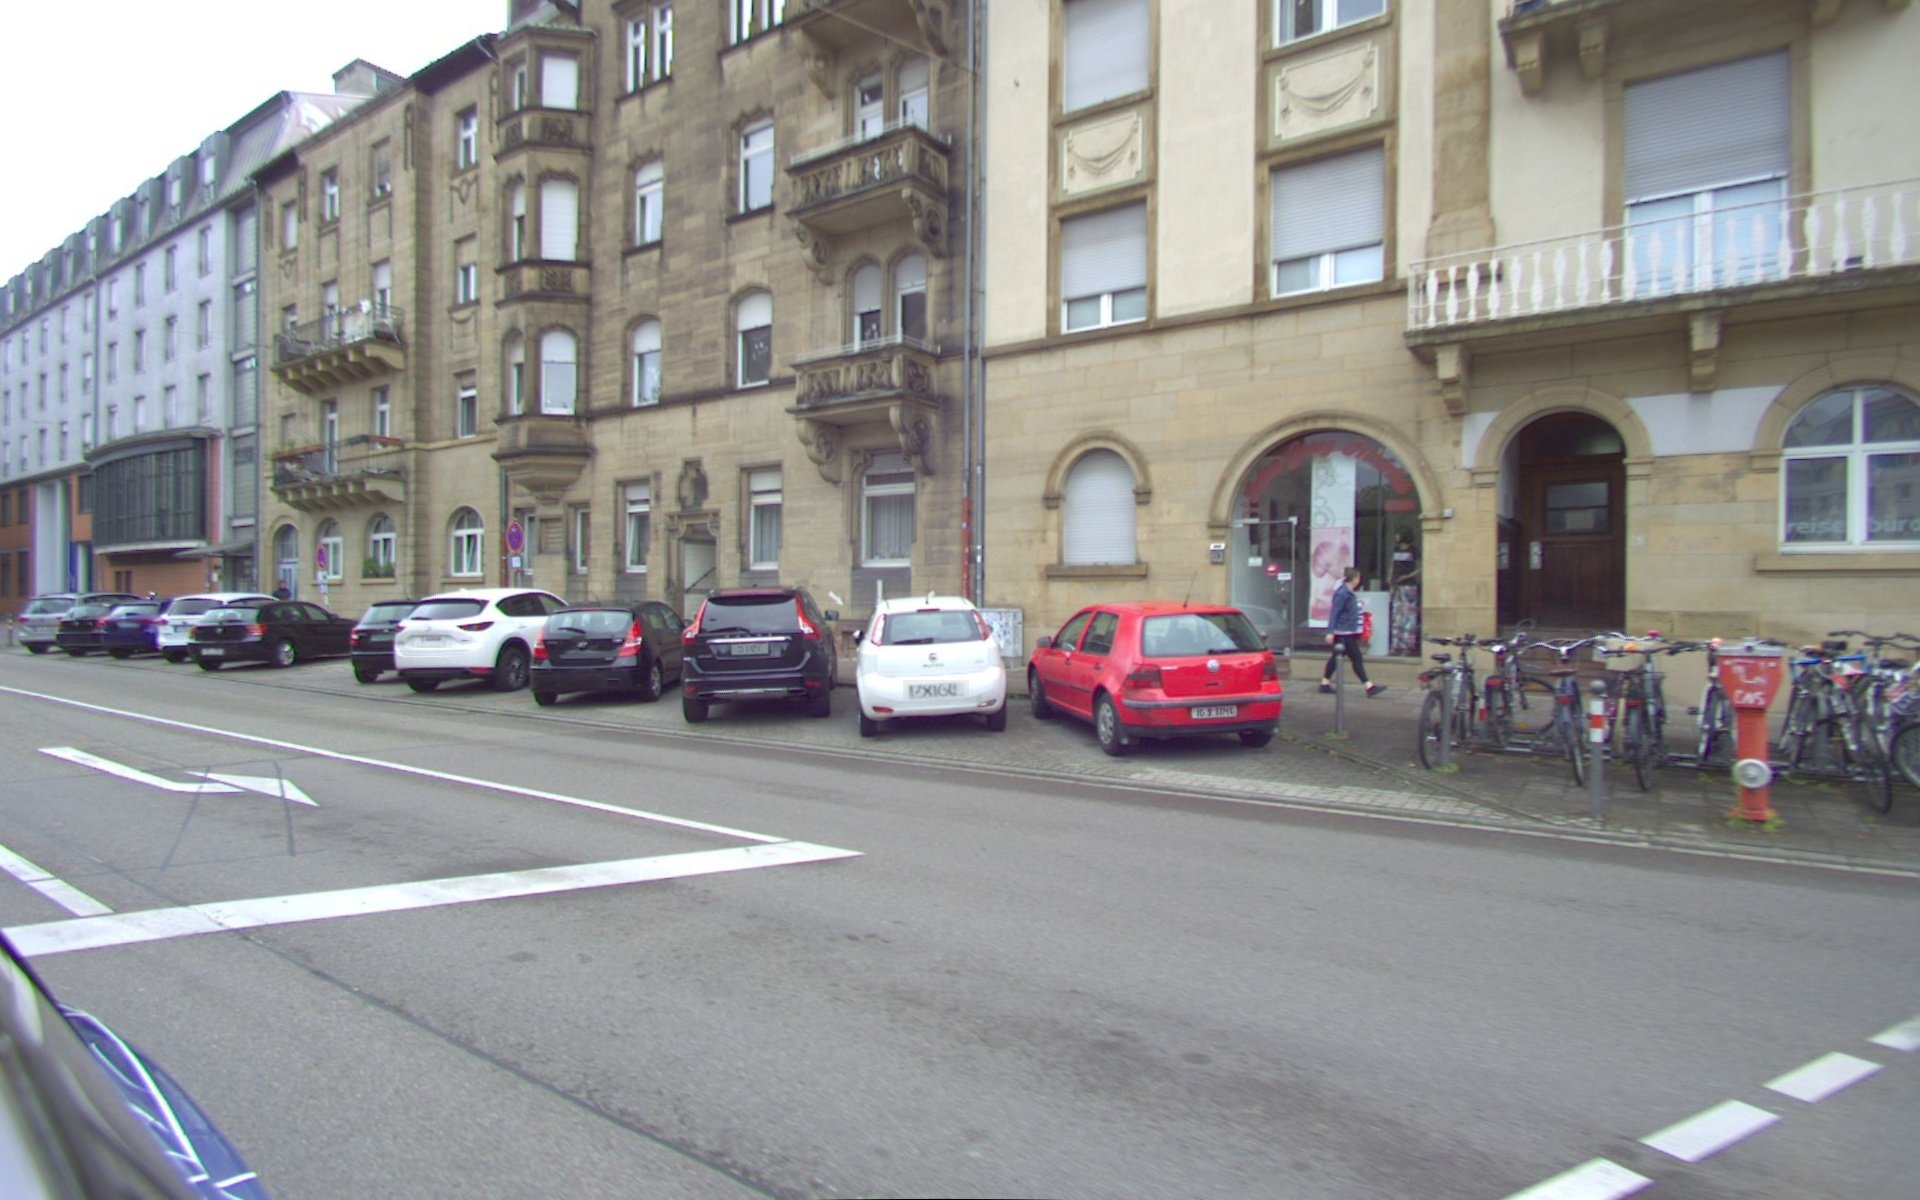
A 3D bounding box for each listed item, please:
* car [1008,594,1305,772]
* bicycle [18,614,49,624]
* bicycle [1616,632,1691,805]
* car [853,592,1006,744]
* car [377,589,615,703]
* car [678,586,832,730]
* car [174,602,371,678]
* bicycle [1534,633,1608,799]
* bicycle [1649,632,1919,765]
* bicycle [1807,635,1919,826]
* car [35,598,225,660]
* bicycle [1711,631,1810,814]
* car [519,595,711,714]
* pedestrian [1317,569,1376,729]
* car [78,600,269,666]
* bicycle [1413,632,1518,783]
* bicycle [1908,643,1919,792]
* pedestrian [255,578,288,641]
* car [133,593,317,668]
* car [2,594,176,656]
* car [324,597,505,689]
[{"bbox_3d":[1.862,0.709,10.931,1.656,1.483,4.010,-1,1,-13],"label":"car"},{"bbox_3d":[-44.078,0.894,48.149,0.527,0.440,0.998,2,0,37],"label":"bicycle"},{"bbox_3d":[5.589,0.885,8.183,0.441,1.043,1.871,-1,5,34],"label":"bicycle"},{"bbox_3d":[-0.521,0.689,12.553,1.540,1.483,4.006,-1,2,-7],"label":"car"},{"bbox_3d":[-7.873,0.683,17.631,1.821,1.736,3.986,0,1,11],"label":"car"},{"bbox_3d":[-2.639,0.654,13.851,1.705,1.664,4.232,0,0,-7],"label":"car"},{"bbox_3d":[-15.035,0.808,22.417,1.638,1.428,4.000,0,1,0],"label":"car"},{"bbox_3d":[5.150,0.901,8.489,0.441,1.043,1.871,-1,5,34],"label":"bicycle"},{"bbox_3d":[7.241,0.817,8.849,1.993,1.035,0.497,0,-1,37],"label":"bicycle"},{"bbox_3d":[6.664,0.884,7.460,0.441,1.043,1.871,-1,5,34],"label":"bicycle"},{"bbox_3d":[-22.354,0.721,27.465,1.711,1.449,3.996,-1,2,4],"label":"car"},{"bbox_3d":[6.132,0.865,7.807,0.441,1.043,1.871,-1,5,34],"label":"bicycle"},{"bbox_3d":[-5.240,0.741,15.931,1.707,1.505,4.002,-1,2,-1],"label":"car"},{"bbox_3d":[4.923,0.603,12.884,0.550,1.973,0.613,0,-1,37],"label":"pedestrian"},{"bbox_3d":[-20.061,0.791,26.024,1.801,1.456,3.743,-1,2,5],"label":"car"},{"bbox_3d":[4.546,0.899,9.043,0.442,1.043,1.868,0,4,39],"label":"bicycle"},{"bbox_3d":[6.777,0.917,6.683,0.441,1.043,1.871,-1,5,34],"label":"bicycle"},{"bbox_3d":[-20.416,0.285,30.018,0.641,1.837,0.614,0,-1,36],"label":"pedestrian"},{"bbox_3d":[-17.770,0.674,24.717,1.678,1.565,4.003,-1,2,-2],"label":"car"},{"bbox_3d":[-24.893,0.653,29.143,1.707,1.565,4.004,-1,2,-4],"label":"car"},{"bbox_3d":[-10.252,0.741,19.342,1.546,1.508,3.815,0,1,-3],"label":"car"}]
